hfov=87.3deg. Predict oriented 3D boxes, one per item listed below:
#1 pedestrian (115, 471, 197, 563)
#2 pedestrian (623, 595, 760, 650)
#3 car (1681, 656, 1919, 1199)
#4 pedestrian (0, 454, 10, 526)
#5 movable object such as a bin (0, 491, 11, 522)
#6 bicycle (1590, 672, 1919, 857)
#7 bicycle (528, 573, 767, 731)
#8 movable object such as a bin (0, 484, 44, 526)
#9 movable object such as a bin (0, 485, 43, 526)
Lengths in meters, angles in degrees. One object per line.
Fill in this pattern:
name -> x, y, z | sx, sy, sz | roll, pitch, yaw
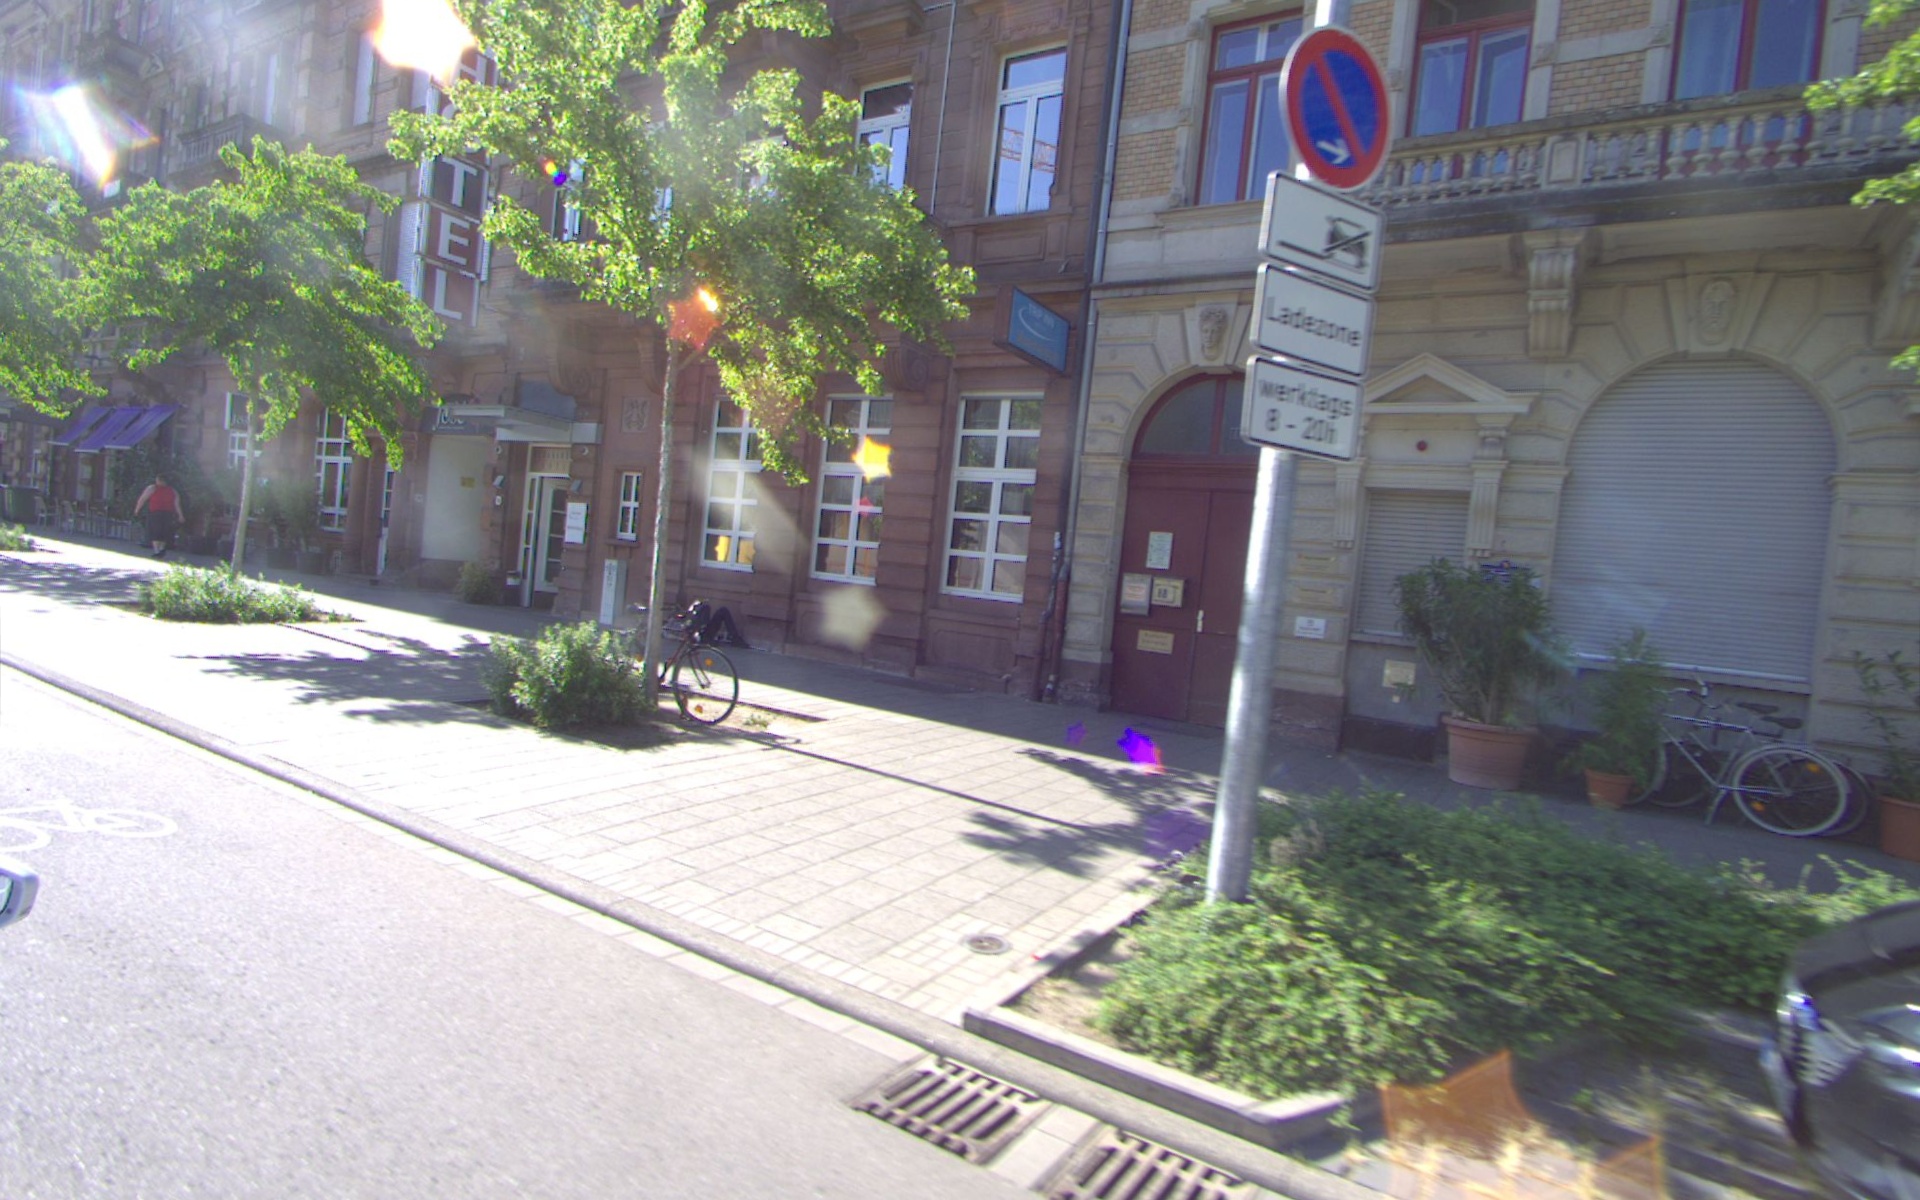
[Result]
pedestrian -> -16.841, -1.737, 21.092 | 0.852, 1.753, 0.997 | 6, 0, 31
pedestrian -> -3.947, 0.330, 14.747 | 1.974, 0.560, 0.773 | 7, 2, 32
car -> 4.205, 1.180, 2.069 | 4.151, 1.591, 1.883 | 6, 3, 32
pedestrian -> -28.245, -3.216, 29.050 | 1.029, 2.038, 0.818 | 4, -1, 32
movable object such as a bin -> -30.219, -2.964, 31.445 | 0.639, 0.928, 0.605 | 7, 2, 28
bicycle -> 6.430, 1.284, 8.251 | 2.023, 1.105, 0.481 | 7, 3, 32
bicycle -> -2.842, 0.423, 9.064 | 2.134, 1.135, 0.651 | 6, 3, 26
movable object such as a bin -> -27.575, -2.785, 29.551 | 0.734, 1.112, 0.726 | 7, 2, 28
movable object such as a bin -> -28.112, -2.828, 30.118 | 0.734, 1.112, 0.726 | 7, 2, 28
